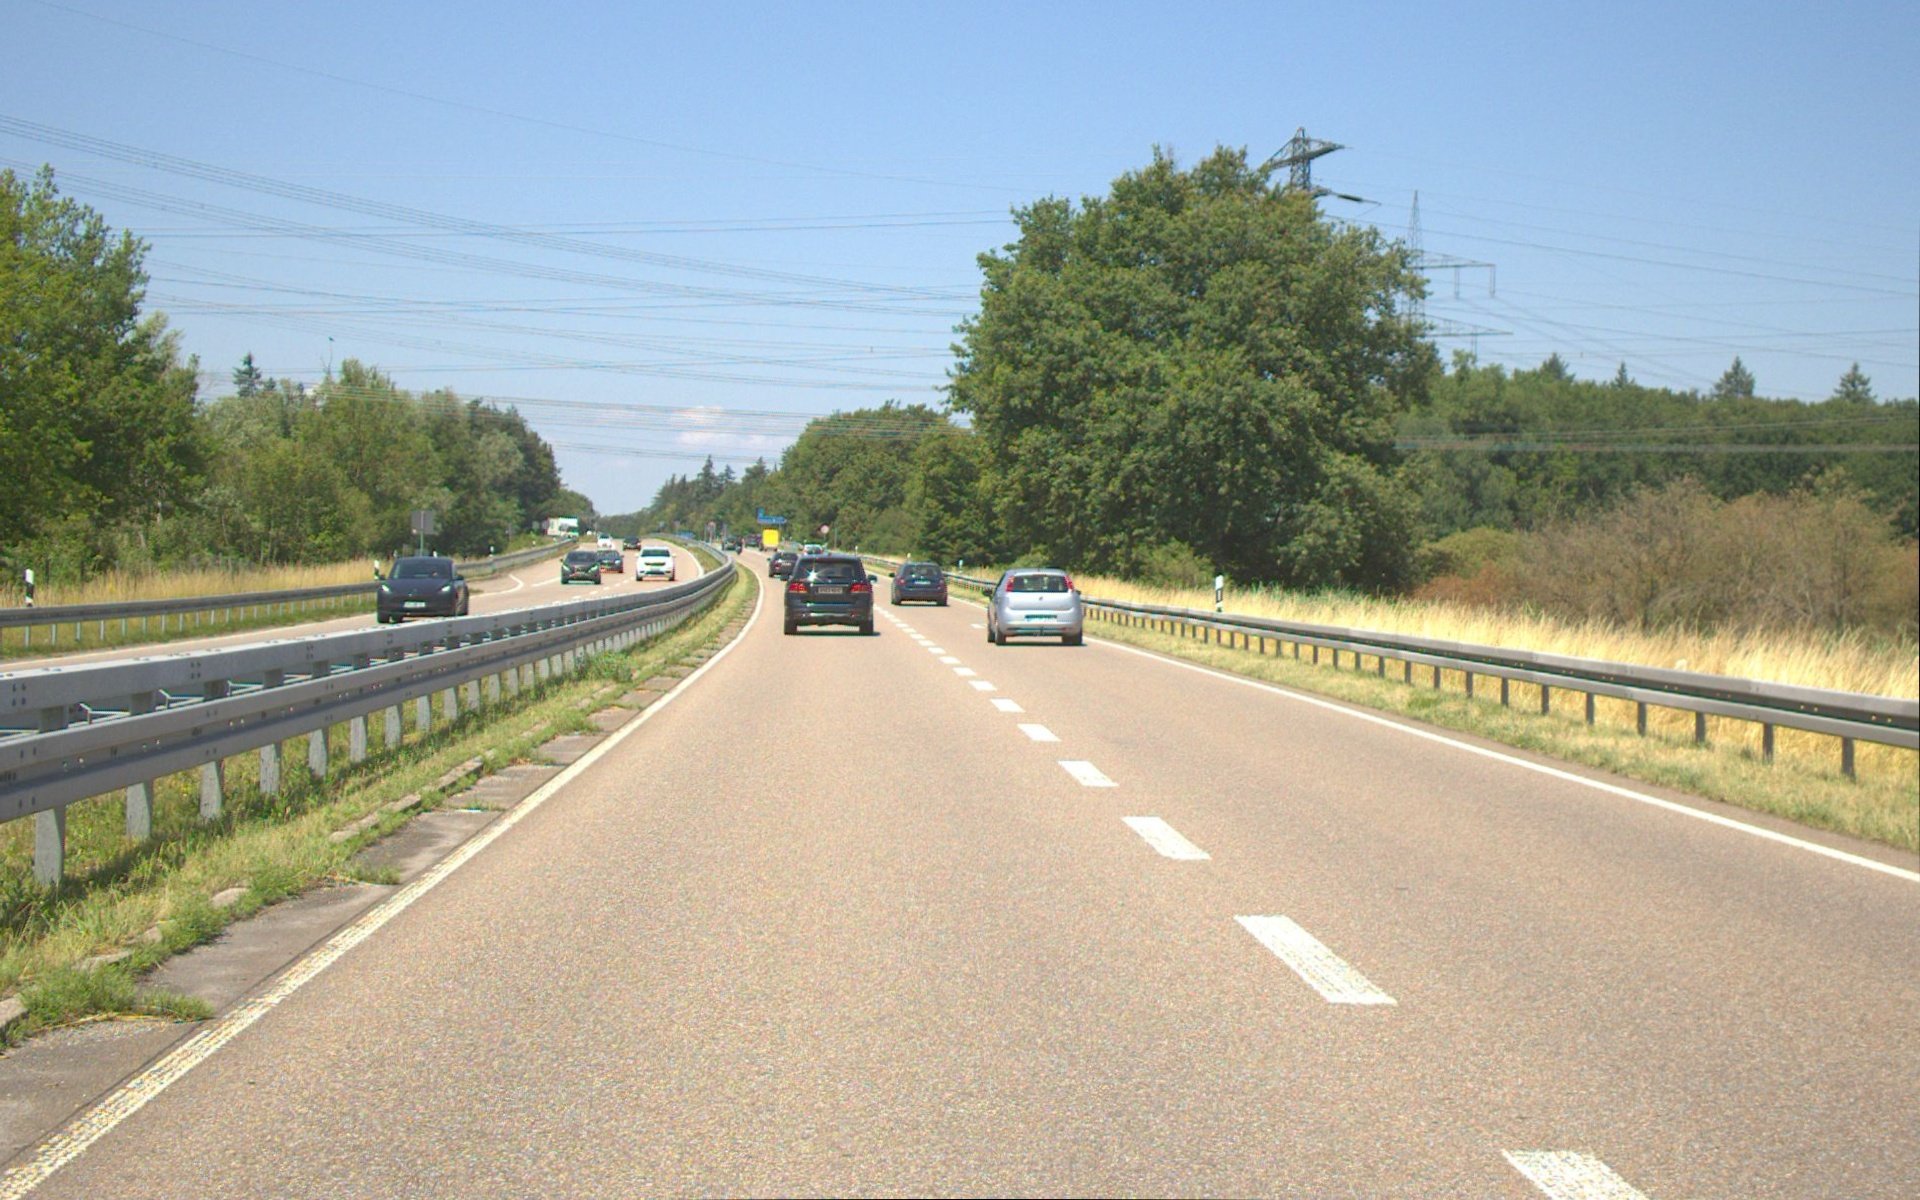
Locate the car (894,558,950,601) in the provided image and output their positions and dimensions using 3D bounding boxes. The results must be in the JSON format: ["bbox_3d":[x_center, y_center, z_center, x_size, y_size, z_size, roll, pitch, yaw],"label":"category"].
[{"bbox_3d":[-1.275,-0.688,115.702,1.819,1.409,4.000,1,1,-1],"label":"car"}]

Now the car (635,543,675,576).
[{"bbox_3d":[-15.701,-2.074,177.178,1.993,1.656,4.001,1,1,-5],"label":"car"}]

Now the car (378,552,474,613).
[{"bbox_3d":[-13.216,-0.440,85.262,1.831,1.470,3.684,1,1,-1],"label":"car"}]

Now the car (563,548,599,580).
[{"bbox_3d":[-17.997,-1.723,163.492,1.614,1.470,3.067,1,1,-5],"label":"car"}]

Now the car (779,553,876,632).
[{"bbox_3d":[-2.864,-0.186,74.886,1.993,1.649,4.000,1,1,-1],"label":"car"}]

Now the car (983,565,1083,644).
[{"bbox_3d":[1.392,0.072,67.157,1.779,1.474,4.315,1,1,-1],"label":"car"}]

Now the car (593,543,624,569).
[{"bbox_3d":[-21.162,-2.641,207.090,1.514,1.470,3.066,4,0,-2],"label":"car"}]

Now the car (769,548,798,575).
[{"bbox_3d":[-9.822,-2.160,191.328,1.514,1.470,3.066,1,1,-1],"label":"car"}]
